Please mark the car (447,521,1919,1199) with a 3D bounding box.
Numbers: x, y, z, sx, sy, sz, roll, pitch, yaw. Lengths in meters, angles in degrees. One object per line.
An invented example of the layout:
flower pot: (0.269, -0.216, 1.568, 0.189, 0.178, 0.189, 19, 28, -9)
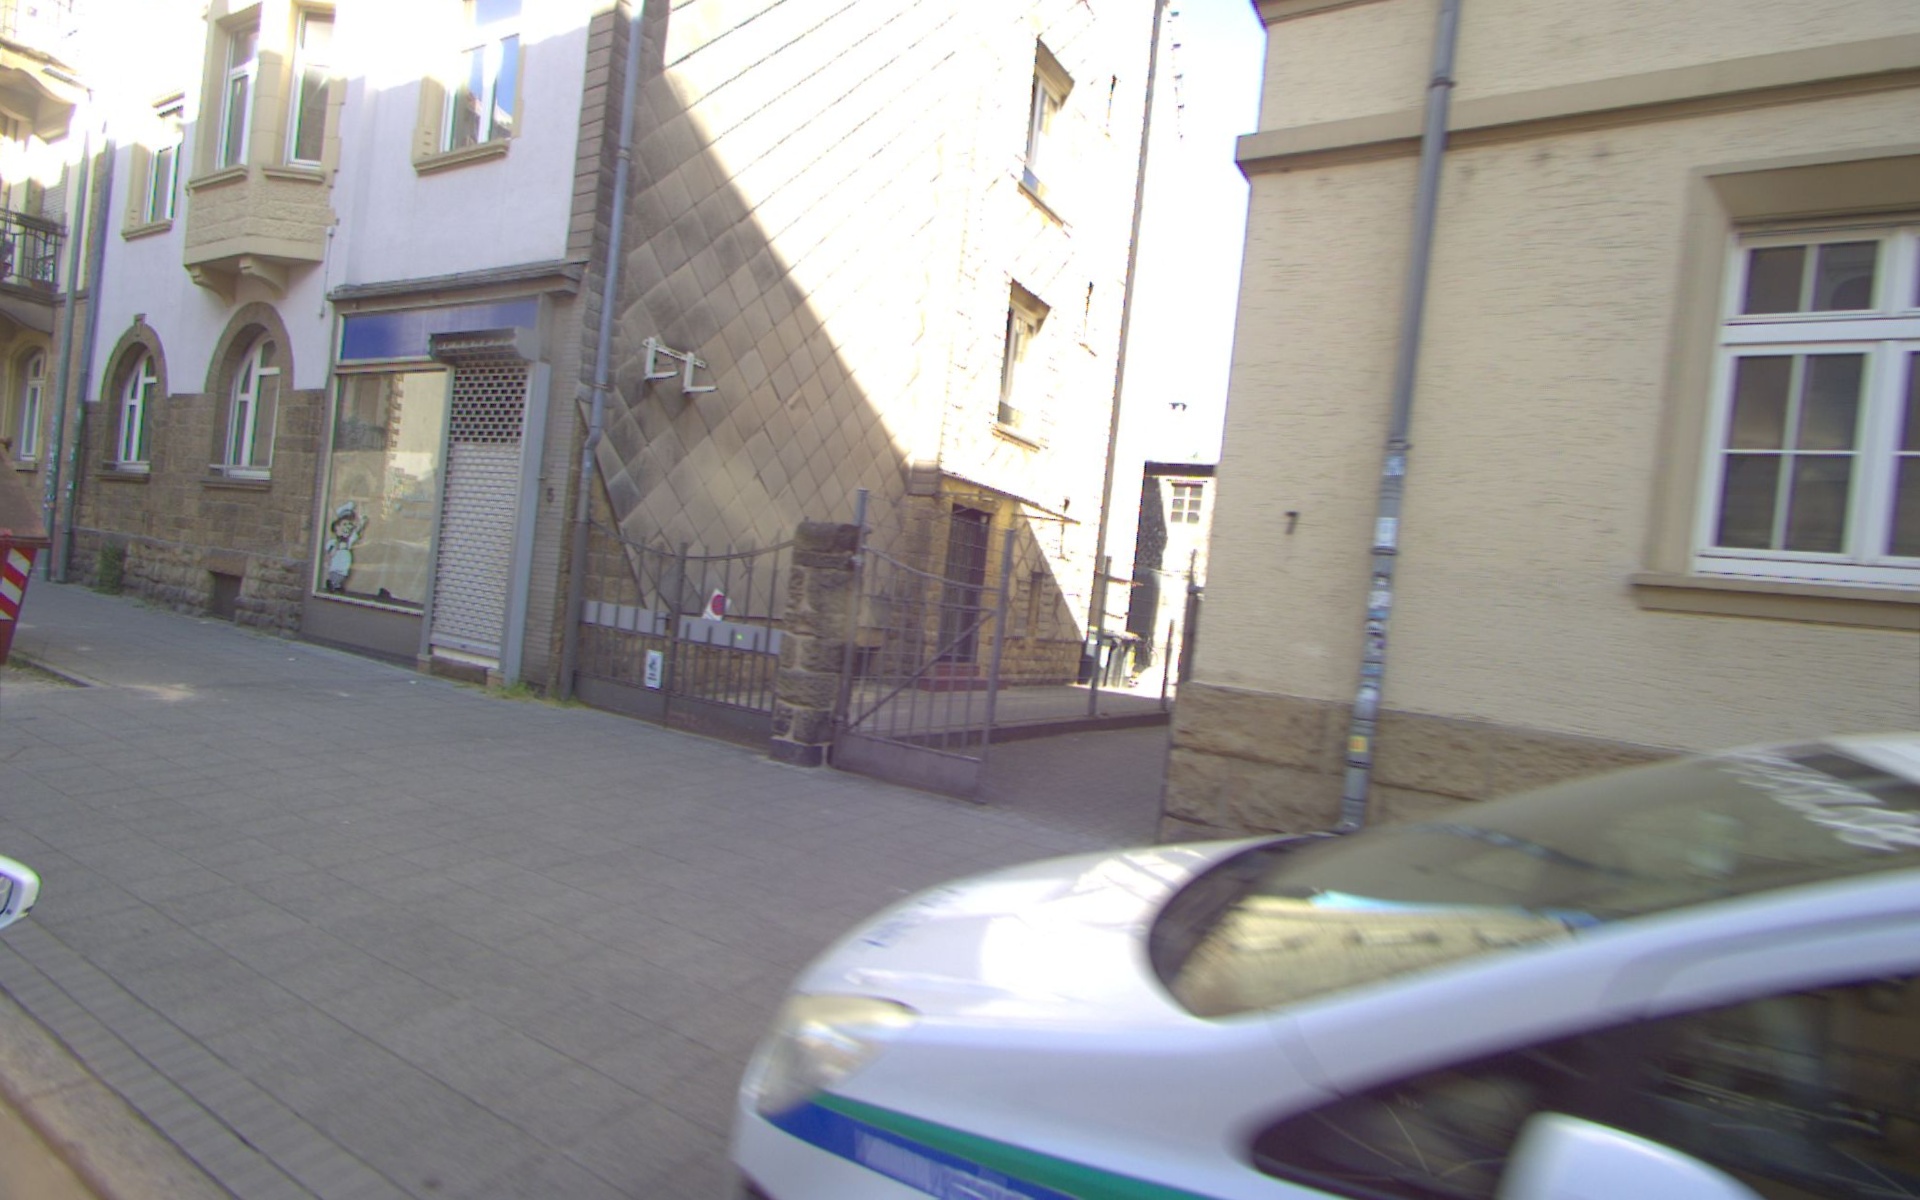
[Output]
car: (1.152, 0.839, 1.411, 3.649, 1.483, 1.587, 7, 1, 30)
